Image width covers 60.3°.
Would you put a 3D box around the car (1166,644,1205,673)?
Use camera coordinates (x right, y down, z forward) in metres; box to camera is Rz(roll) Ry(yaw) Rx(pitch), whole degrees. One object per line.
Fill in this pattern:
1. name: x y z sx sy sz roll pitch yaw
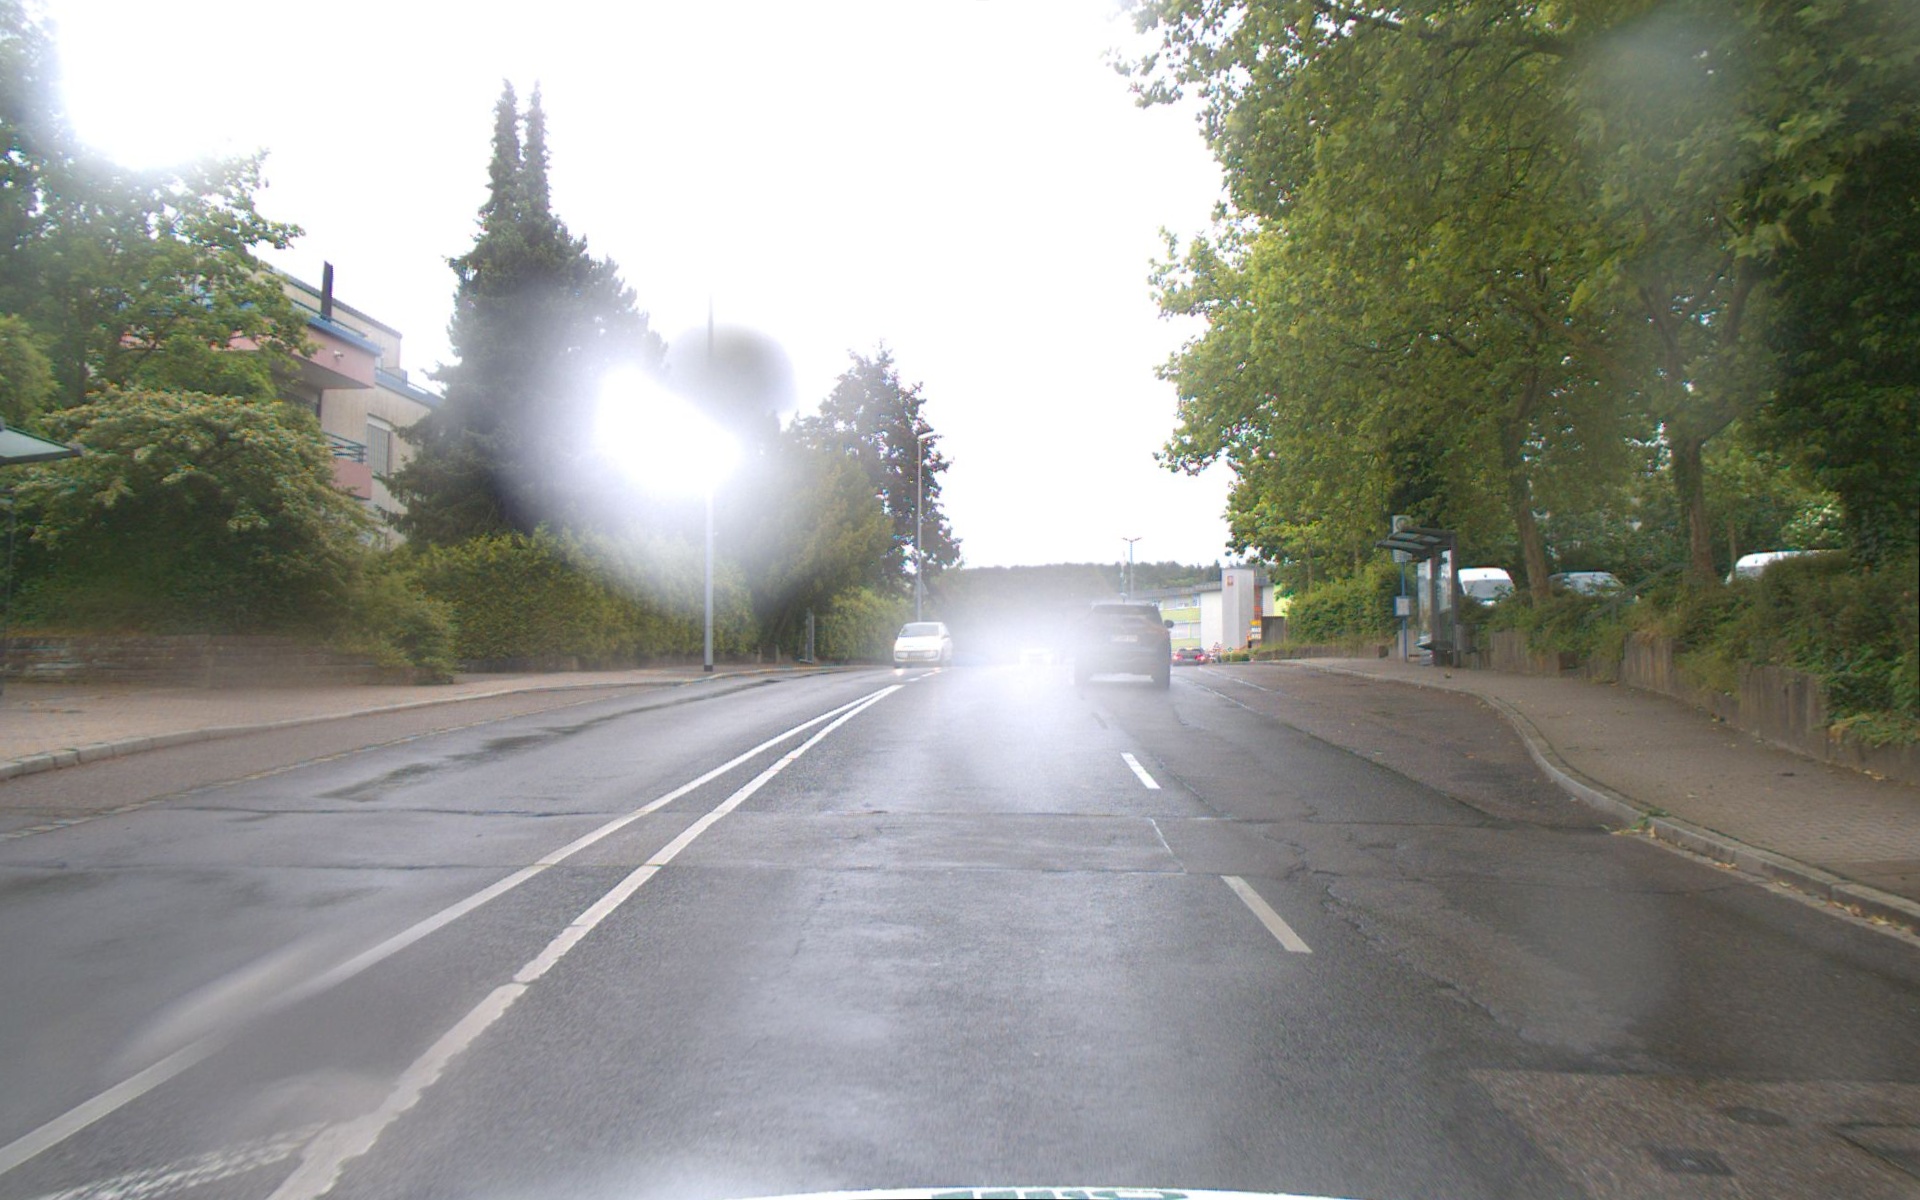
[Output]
1. car: 12.104 3.110 88.778 1.951 1.467 4.002 1 -1 6

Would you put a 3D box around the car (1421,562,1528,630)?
1. car: 18.484 -0.149 59.700 2.004 2.324 5.014 1 0 -4

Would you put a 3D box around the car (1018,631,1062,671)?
1. car: 4.229 2.655 86.871 1.824 1.950 5.032 -3 -2 7

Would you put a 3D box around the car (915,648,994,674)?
1. car: -0.303 3.559 96.115 4.388 1.386 1.806 1 -2 5

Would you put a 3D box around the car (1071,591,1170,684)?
1. car: 3.075 0.669 32.184 1.752 1.631 4.255 2 0 4

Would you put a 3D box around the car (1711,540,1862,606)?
1. car: 28.122 -0.903 56.230 5.127 2.049 1.981 2 0 -28

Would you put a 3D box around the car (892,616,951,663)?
1. car: -1.230 1.256 53.954 1.650 1.479 3.399 0 -1 3
